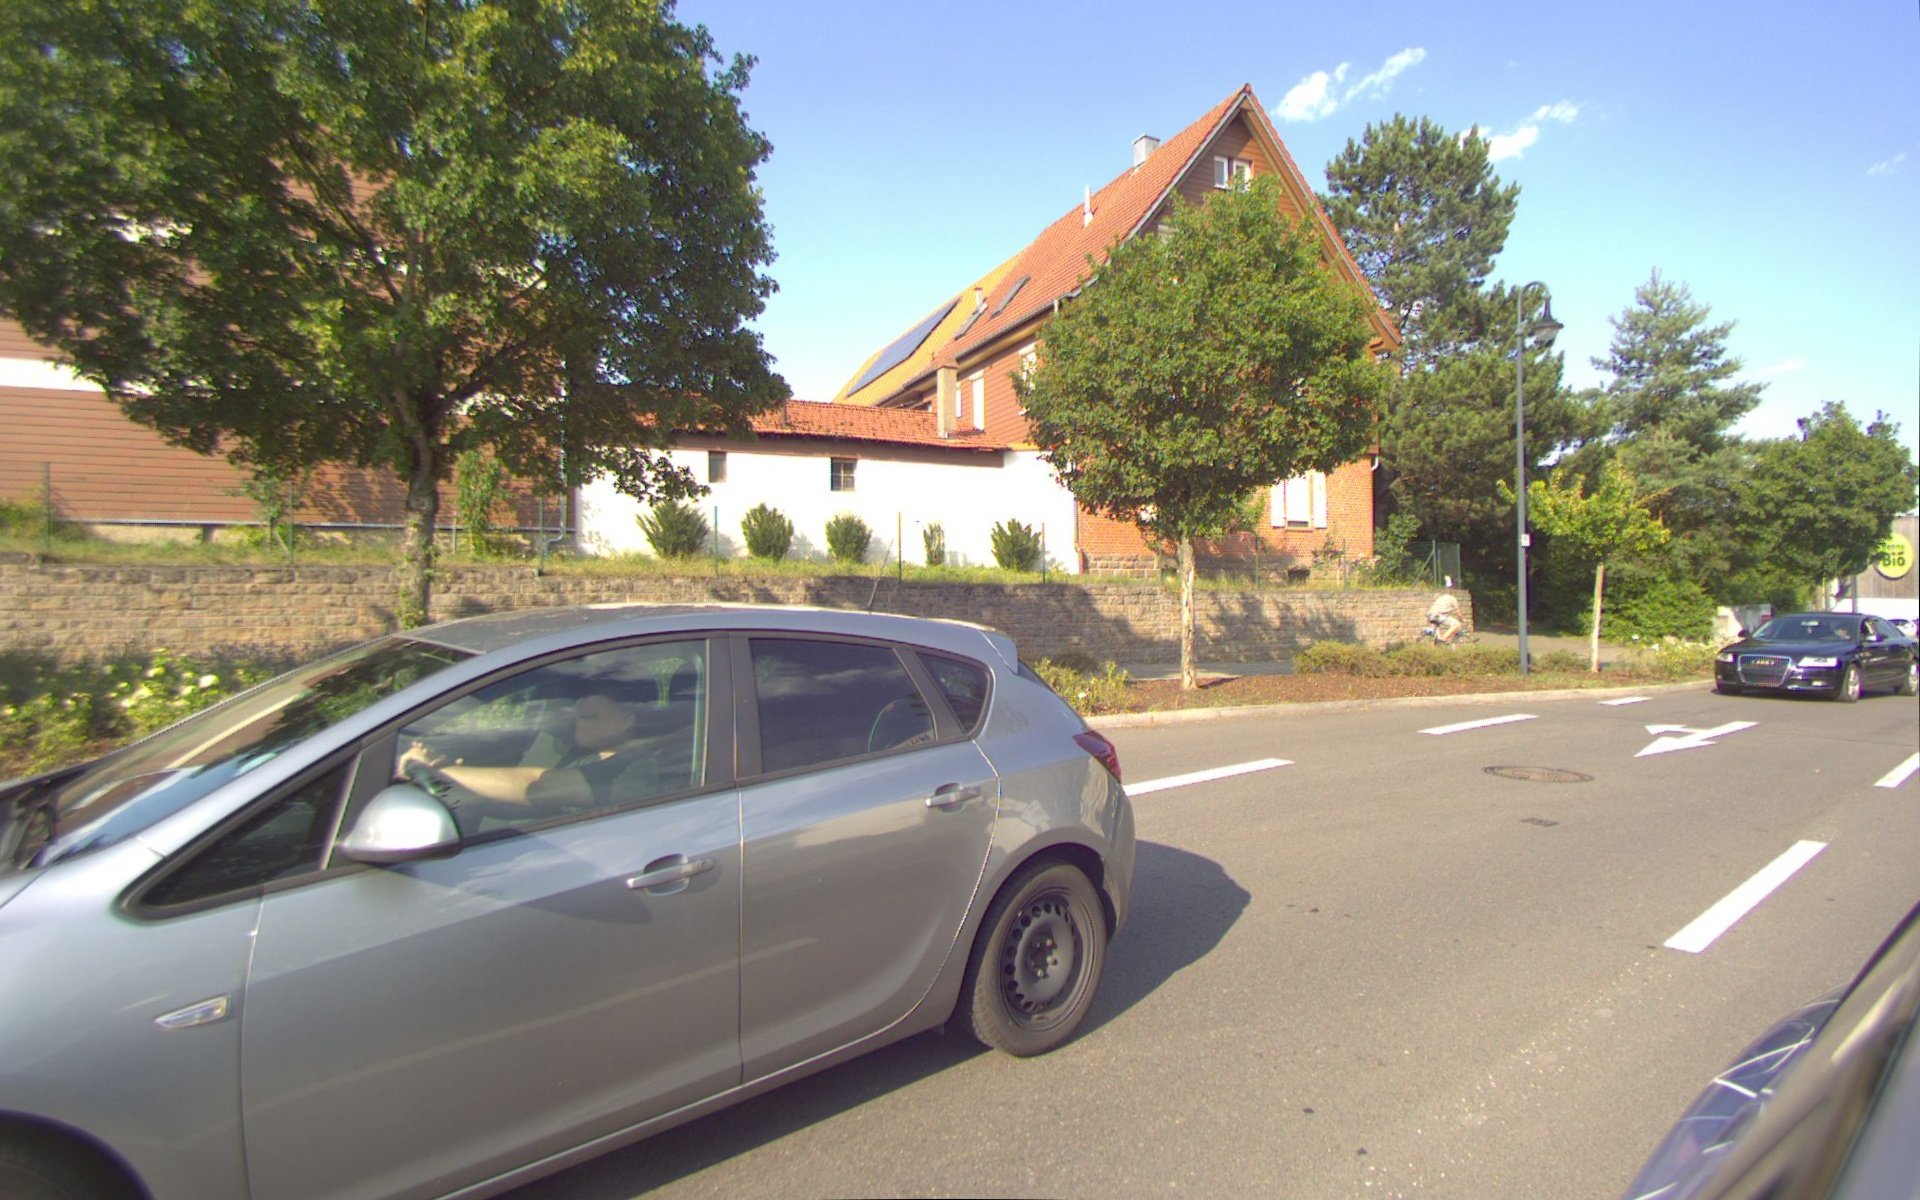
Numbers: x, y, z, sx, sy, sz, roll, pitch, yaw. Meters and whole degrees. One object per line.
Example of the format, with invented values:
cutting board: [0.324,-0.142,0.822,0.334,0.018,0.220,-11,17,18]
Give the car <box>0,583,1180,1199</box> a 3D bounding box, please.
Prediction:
car: [-1.295,0.698,3.014,4.095,1.460,1.746,0,0,-42]

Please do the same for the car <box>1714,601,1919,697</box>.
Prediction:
car: [14.994,0.749,17.379,4.498,1.454,1.688,0,0,-31]

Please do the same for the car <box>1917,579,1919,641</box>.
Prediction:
car: [40.152,0.421,39.218,2.345,2.579,6.146,0,0,22]

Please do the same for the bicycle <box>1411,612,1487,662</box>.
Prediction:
bicycle: [10.671,0.794,22.084,1.838,1.031,0.523,0,0,-29]

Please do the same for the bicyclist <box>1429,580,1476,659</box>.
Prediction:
bicyclist: [10.767,0.410,22.137,0.719,1.699,0.605,0,-1,-28]
